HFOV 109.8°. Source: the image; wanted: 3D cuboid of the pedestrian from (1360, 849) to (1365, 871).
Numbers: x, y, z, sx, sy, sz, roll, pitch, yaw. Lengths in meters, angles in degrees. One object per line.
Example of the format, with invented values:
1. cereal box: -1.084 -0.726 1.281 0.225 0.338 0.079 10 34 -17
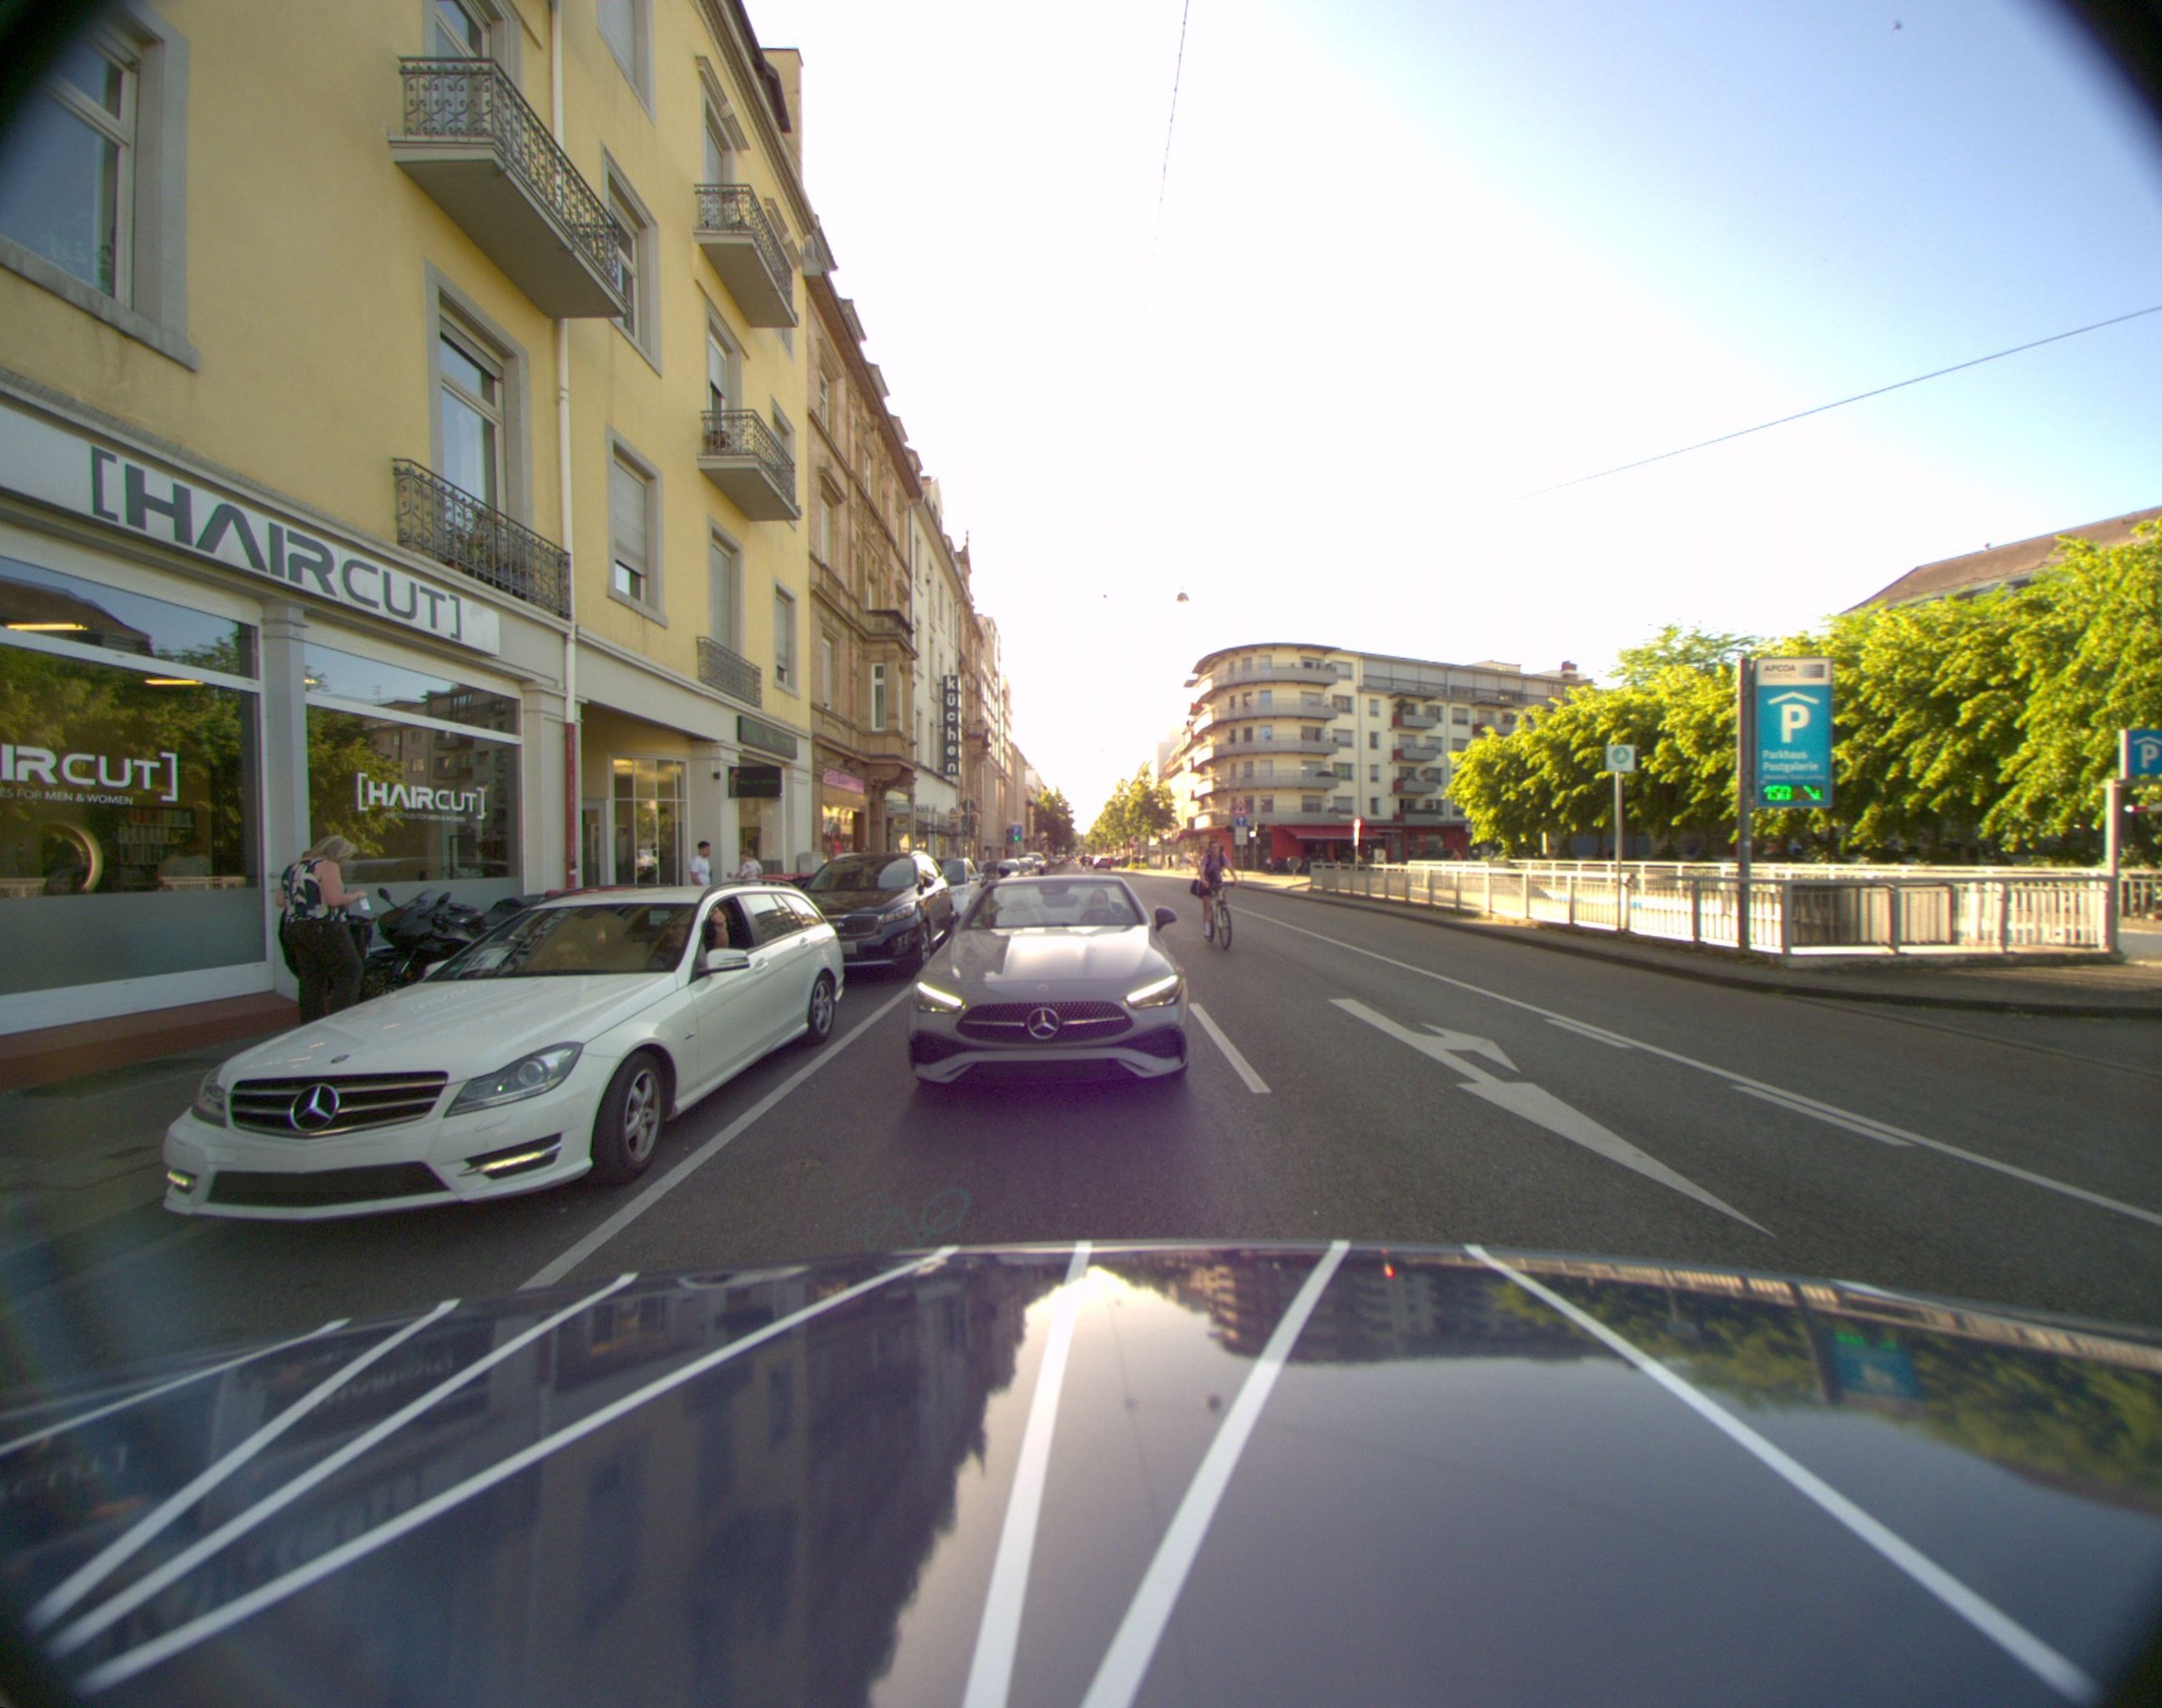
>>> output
1. pedestrian: 20.646 0.434 55.709 0.270 1.658 0.362 -1 1 32

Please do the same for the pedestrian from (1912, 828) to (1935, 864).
1. pedestrian: 42.999 -0.403 38.795 0.602 1.782 0.581 -2 1 -20

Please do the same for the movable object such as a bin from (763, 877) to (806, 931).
1. movable object such as a bin: -6.087 1.012 15.624 0.606 1.060 0.619 2 1 0

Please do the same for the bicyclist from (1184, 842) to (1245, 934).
1. bicyclist: 2.157 0.534 12.378 0.798 1.426 1.008 -1 1 1

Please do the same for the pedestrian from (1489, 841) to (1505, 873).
1. pedestrian: 23.797 0.171 43.469 0.602 1.782 0.581 -3 2 -45

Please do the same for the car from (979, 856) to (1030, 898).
1. car: -2.992 0.864 30.394 1.737 1.509 4.164 -1 0 -2

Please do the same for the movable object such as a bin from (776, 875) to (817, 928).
1. movable object such as a bin: -6.075 1.004 16.238 0.606 1.060 0.619 2 1 0

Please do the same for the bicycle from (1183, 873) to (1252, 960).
1. bicycle: 2.174 0.965 12.326 0.798 1.226 1.773 -1 0 1

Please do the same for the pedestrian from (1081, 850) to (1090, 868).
1. pedestrian: 0.390 0.437 69.627 0.774 1.606 0.696 -1 1 -3

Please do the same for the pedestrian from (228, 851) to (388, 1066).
1. pedestrian: -6.082 0.788 6.006 0.698 1.623 0.532 0 1 -2

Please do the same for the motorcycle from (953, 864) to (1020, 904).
1. motorcycle: -3.255 1.009 26.277 2.178 1.272 0.866 -2 1 -42

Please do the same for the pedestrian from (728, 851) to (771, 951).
1. pedestrian: -5.644 0.774 12.932 0.594 1.651 0.450 0 1 -34

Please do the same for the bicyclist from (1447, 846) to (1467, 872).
1. bicyclist: 23.505 0.319 47.531 0.973 1.605 0.715 -1 1 40

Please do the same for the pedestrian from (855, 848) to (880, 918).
1. pedestrian: -5.074 0.685 18.035 0.415 1.623 0.514 -2 1 -31

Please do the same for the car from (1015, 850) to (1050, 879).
1. car: -2.997 0.643 47.505 1.895 1.680 4.049 -1 0 0

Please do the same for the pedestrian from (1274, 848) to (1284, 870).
1. pedestrian: 15.397 0.389 59.155 0.575 1.698 0.642 -1 1 3

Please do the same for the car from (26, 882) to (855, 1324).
1. car: -3.062 1.019 5.089 1.743 1.438 4.463 -1 0 0

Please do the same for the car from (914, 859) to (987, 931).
1. car: -2.992 0.896 17.846 1.275 1.509 2.794 -1 0 -2

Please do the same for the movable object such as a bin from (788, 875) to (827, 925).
1. movable object such as a bin: -6.064 1.010 16.871 0.606 1.060 0.619 2 1 0

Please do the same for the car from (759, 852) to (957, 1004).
1. car: -2.983 0.859 11.211 1.760 1.726 4.571 -1 0 -3

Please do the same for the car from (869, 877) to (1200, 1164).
1. car: -0.254 1.016 6.510 1.848 1.440 4.373 -1 0 0

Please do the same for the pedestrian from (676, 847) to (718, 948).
1. pedestrian: -6.437 0.710 12.753 0.337 1.651 0.525 1 1 25

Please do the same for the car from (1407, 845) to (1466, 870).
1. car: 29.211 0.258 62.384 4.432 1.901 1.951 -2 1 -24

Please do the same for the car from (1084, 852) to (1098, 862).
1. car: 1.494 0.432 114.138 1.895 1.388 4.255 -1 0 0

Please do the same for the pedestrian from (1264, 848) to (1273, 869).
1. pedestrian: 14.751 0.350 59.832 0.575 1.698 0.642 -1 1 3

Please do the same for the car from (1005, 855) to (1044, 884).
1. car: -2.992 0.817 40.876 1.737 1.409 3.802 -1 0 0

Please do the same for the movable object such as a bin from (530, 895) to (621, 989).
1. movable object such as a bin: -6.109 1.046 9.210 0.661 1.035 0.619 2 1 3

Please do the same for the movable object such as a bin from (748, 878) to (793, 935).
1. movable object such as a bin: -6.110 1.019 14.977 0.606 1.060 0.619 2 1 0

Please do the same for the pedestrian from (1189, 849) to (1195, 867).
1. pedestrian: 9.642 0.372 65.801 0.376 1.521 0.516 -2 1 -3

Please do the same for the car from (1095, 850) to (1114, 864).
1. car: 2.489 0.299 81.396 1.806 1.388 3.926 -1 0 -1

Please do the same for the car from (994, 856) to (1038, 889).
1. car: -3.071 0.851 36.439 1.737 1.409 3.802 -1 0 0

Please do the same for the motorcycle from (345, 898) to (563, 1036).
1. motorcycle: -6.201 1.054 7.692 0.551 1.085 2.009 0 0 -1

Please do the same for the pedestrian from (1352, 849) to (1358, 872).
1. pedestrian: 20.100 0.453 55.768 0.322 1.658 0.362 -1 1 32

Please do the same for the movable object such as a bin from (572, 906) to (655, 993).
1. movable object such as a bin: -6.056 1.222 9.863 0.669 1.019 0.619 2 1 3

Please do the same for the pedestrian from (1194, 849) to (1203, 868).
1. pedestrian: 10.183 0.363 65.837 0.570 1.612 0.793 -2 1 -3

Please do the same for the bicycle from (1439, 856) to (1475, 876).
1. bicycle: 23.537 0.766 47.530 0.715 1.205 1.868 -3 1 -45

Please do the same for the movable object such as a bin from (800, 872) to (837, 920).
1. movable object such as a bin: -6.054 0.958 17.517 0.606 1.060 0.619 2 1 0

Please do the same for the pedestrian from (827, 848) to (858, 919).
1. pedestrian: -5.619 0.681 17.887 0.619 1.623 0.462 -2 1 -23
